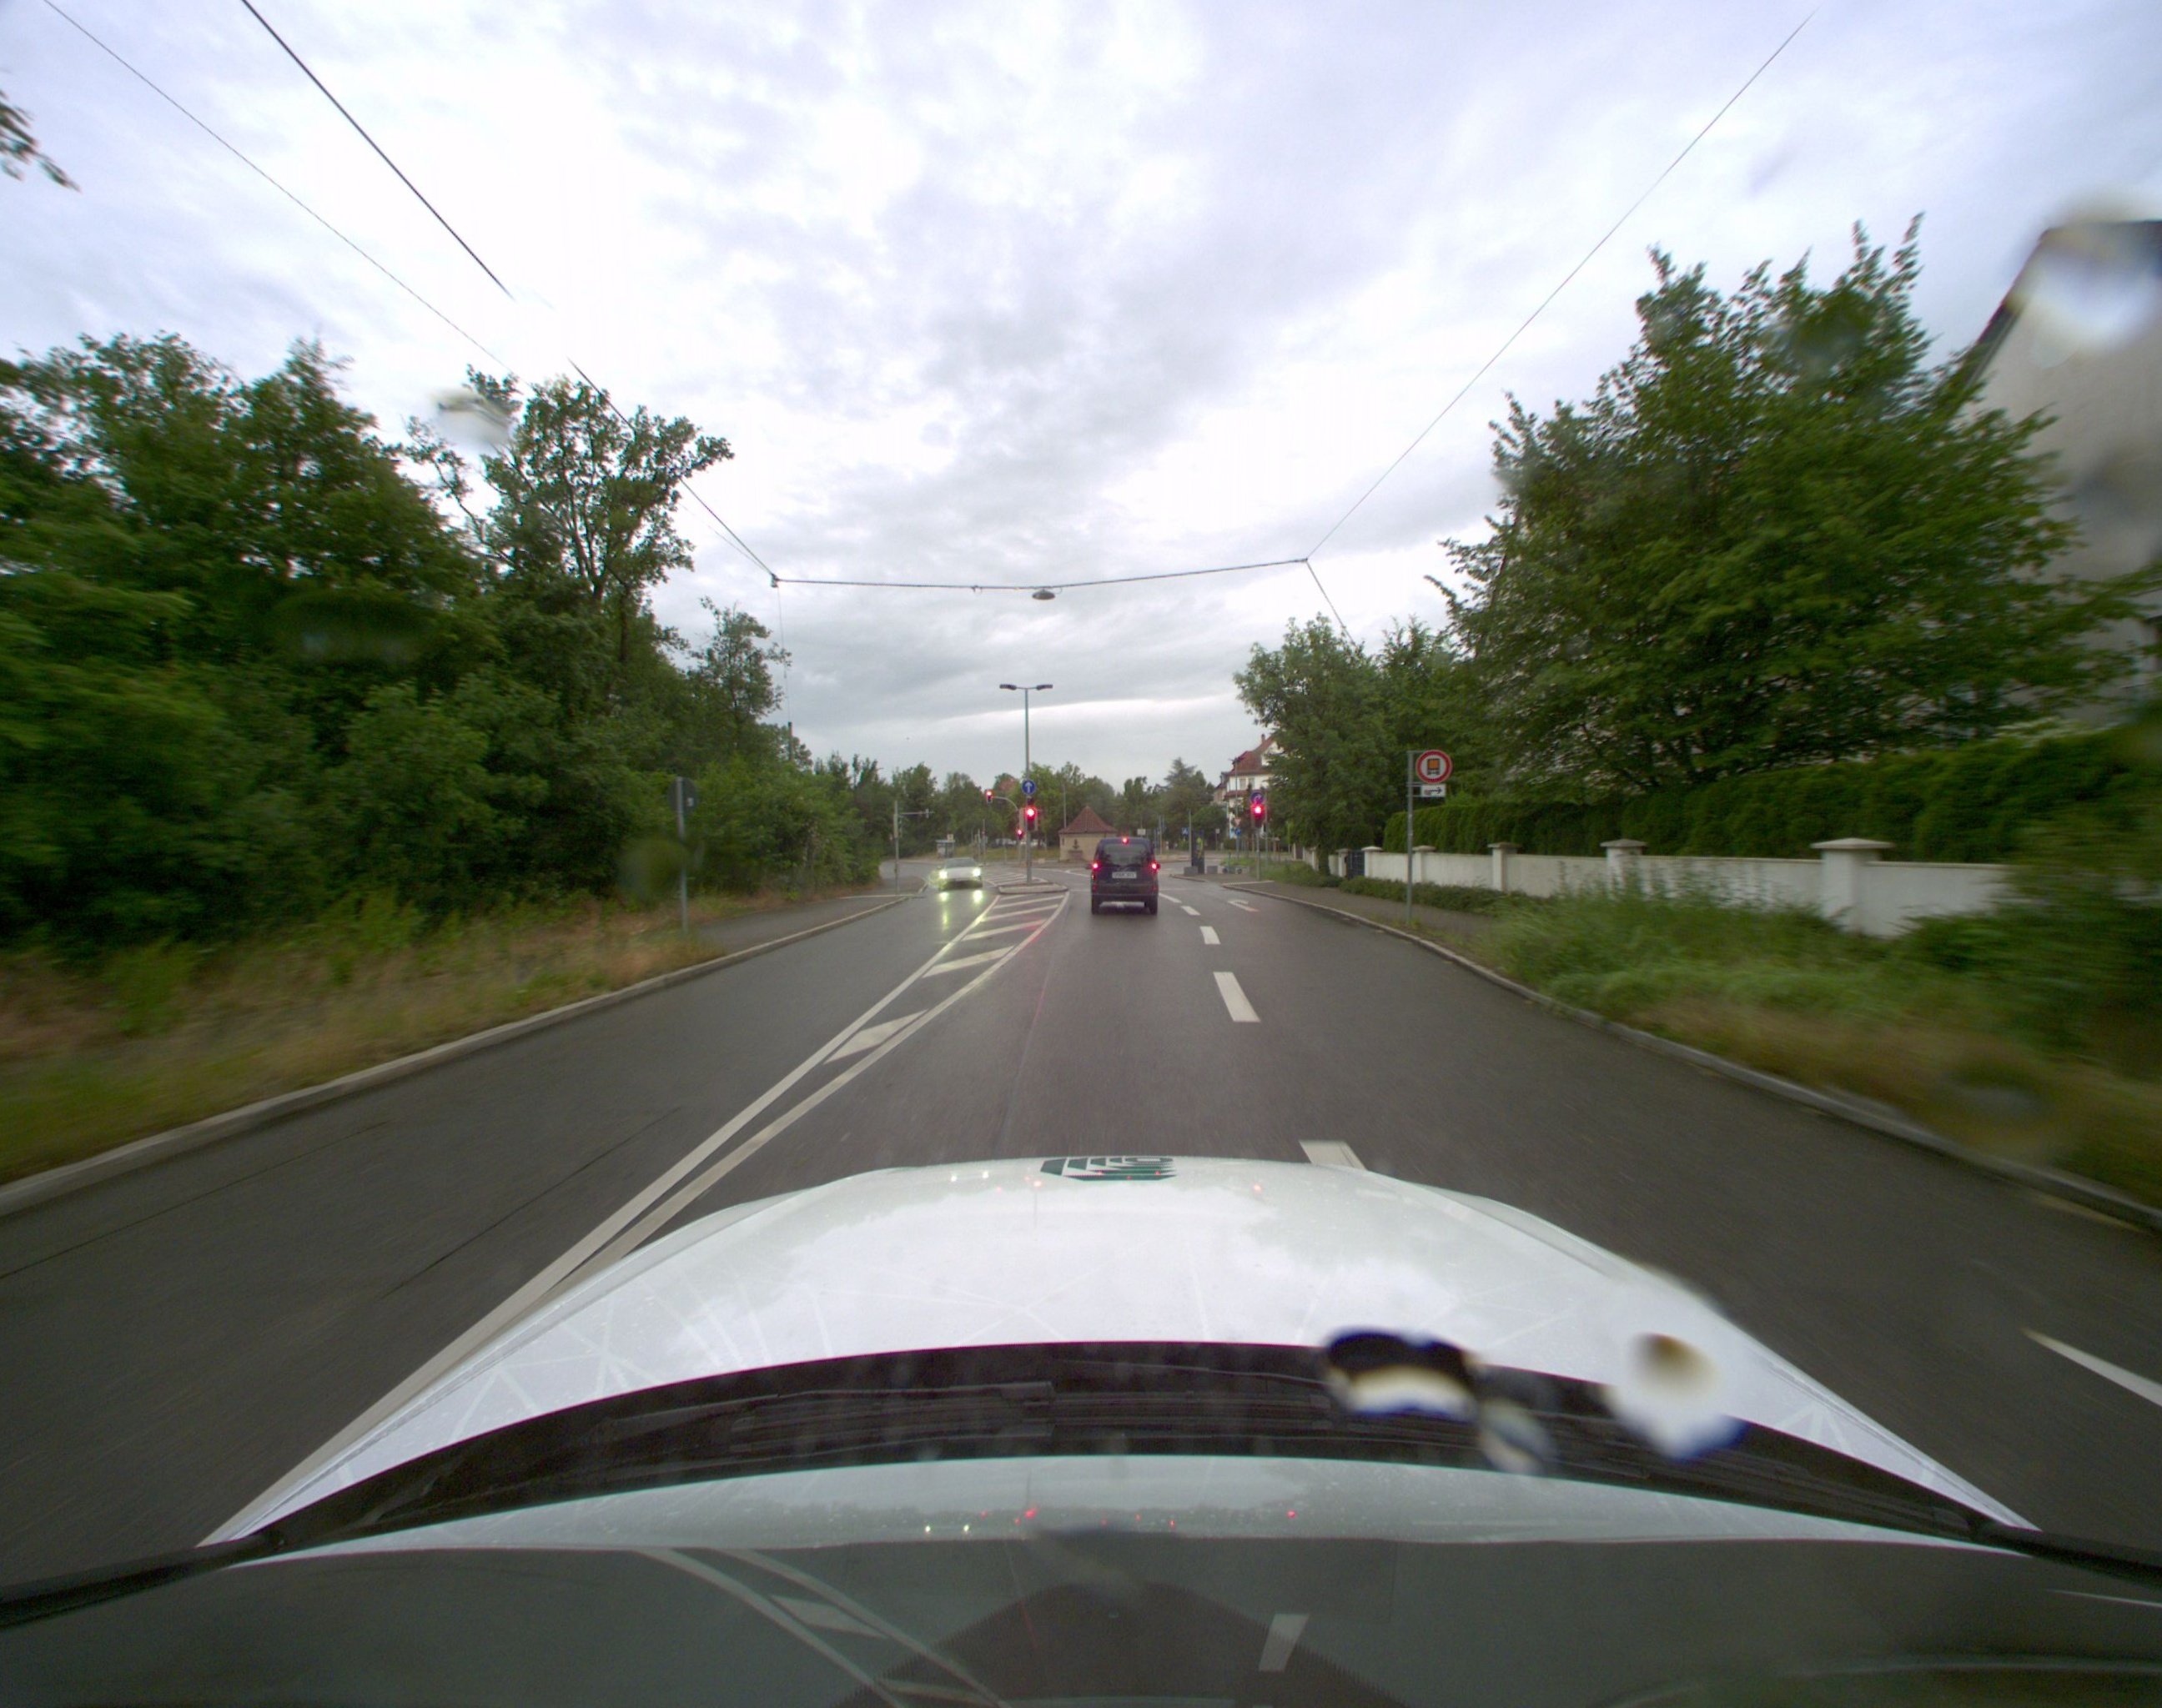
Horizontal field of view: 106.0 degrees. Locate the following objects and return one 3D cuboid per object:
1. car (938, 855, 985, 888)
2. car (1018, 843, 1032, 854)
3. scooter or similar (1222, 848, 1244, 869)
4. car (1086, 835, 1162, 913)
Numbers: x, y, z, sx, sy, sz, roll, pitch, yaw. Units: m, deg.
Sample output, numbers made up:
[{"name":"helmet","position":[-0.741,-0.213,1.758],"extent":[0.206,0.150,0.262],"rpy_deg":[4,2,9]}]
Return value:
[{"name":"car","position":[-5.587,0.765,38.108],"extent":[1.993,1.311,4.347],"rpy_deg":[-4,1,-9]},{"name":"car","position":[-8.944,-0.858,129.671],"extent":[1.987,1.812,3.999],"rpy_deg":[-1,-1,-1]},{"name":"scooter or similar","position":[8.817,0.277,47.287],"extent":[1.145,1.219,0.406],"rpy_deg":[-1,-1,0]},{"name":"car","position":[1.013,0.446,20.933],"extent":[1.726,1.786,3.999],"rpy_deg":[-1,1,0]}]
